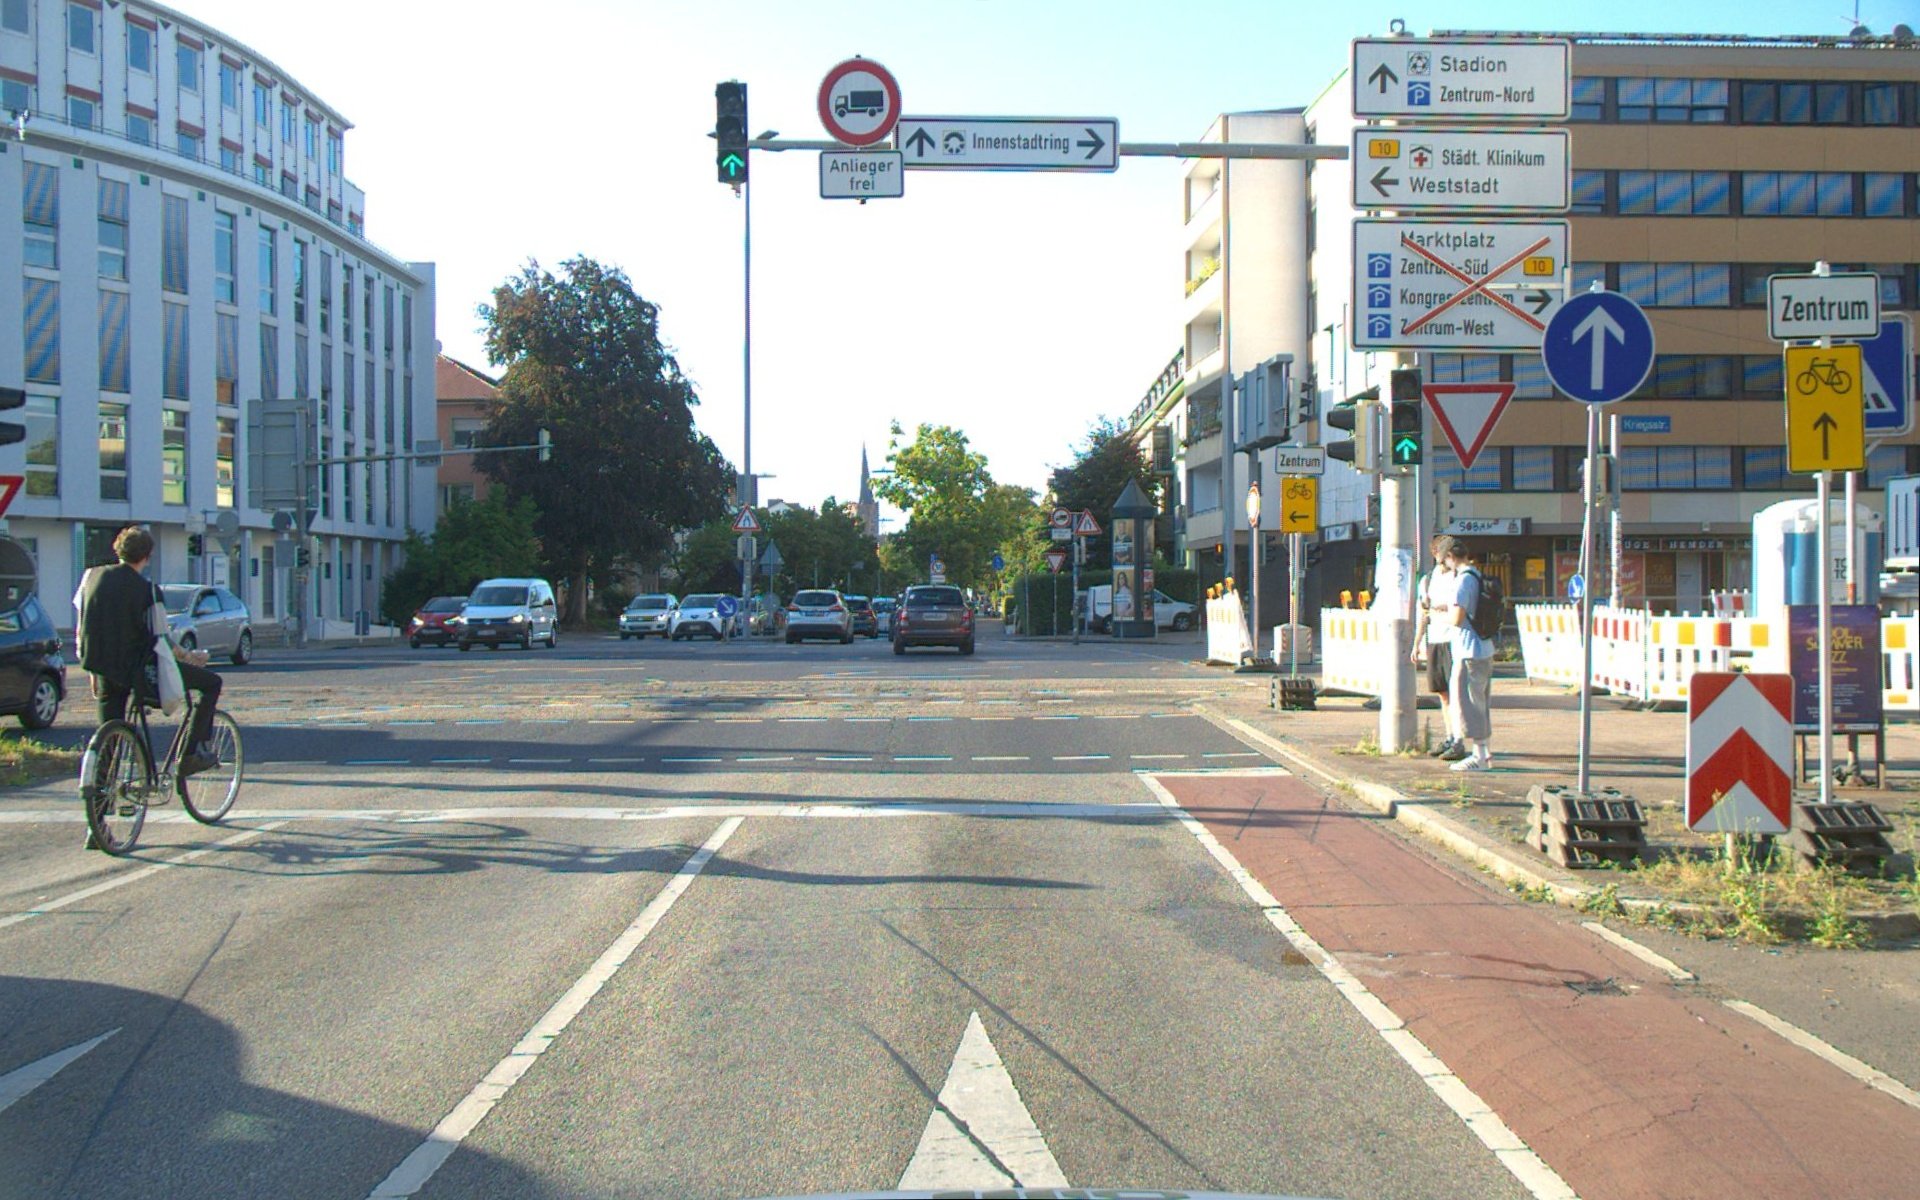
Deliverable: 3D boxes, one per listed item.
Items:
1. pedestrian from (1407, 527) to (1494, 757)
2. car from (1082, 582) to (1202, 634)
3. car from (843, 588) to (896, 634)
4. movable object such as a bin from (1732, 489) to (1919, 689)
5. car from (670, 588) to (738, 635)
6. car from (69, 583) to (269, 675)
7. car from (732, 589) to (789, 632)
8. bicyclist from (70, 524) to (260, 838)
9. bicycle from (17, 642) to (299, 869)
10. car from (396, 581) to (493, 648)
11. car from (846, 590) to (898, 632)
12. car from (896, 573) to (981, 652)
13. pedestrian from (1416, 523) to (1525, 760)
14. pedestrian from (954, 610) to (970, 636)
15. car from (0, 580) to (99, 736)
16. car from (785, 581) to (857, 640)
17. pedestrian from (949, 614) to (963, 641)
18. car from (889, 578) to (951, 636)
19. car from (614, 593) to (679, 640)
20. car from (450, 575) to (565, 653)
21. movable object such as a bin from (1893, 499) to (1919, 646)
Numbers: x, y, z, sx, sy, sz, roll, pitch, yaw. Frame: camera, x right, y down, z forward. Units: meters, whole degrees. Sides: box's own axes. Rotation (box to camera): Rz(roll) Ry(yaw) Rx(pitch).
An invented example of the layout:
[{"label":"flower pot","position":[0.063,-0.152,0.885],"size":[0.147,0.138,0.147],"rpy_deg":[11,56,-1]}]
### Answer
[{"label":"pedestrian","position":[4.159,0.349,14.043],"size":[0.510,1.901,0.614],"rpy_deg":[-1,0,-3]},{"label":"car","position":[6.882,0.285,62.931],"size":[4.276,1.910,1.999],"rpy_deg":[-1,0,-2]},{"label":"car","position":[-3.264,0.361,60.108],"size":[1.712,1.591,4.049],"rpy_deg":[-1,0,0]},{"label":"movable object such as a bin","position":[11.766,-0.146,20.936],"size":[3.261,2.424,1.528],"rpy_deg":[-1,0,-2]},{"label":"car","position":[-8.409,0.358,54.612],"size":[1.811,1.487,4.047],"rpy_deg":[-1,0,-3]},{"label":"car","position":[-14.200,0.474,29.964],"size":[1.624,1.520,4.345],"rpy_deg":[-1,0,-2]},{"label":"car","position":[-7.306,0.366,60.774],"size":[1.811,1.487,4.047],"rpy_deg":[-1,0,-3]},{"label":"bicyclist","position":[-4.684,0.453,9.810],"size":[0.677,1.758,0.987],"rpy_deg":[-1,0,-4]},{"label":"bicycle","position":[-4.678,0.847,9.847],"size":[0.686,1.119,2.256],"rpy_deg":[-1,0,-3]},{"label":"car","position":[-14.896,0.391,48.004],"size":[1.713,1.843,4.047],"rpy_deg":[-1,0,-3]},{"label":"car","position":[-3.566,0.471,67.365],"size":[1.953,1.534,3.998],"rpy_deg":[-2,-2,-2]},{"label":"car","position":[-0.442,0.241,35.986],"size":[1.712,1.591,4.049],"rpy_deg":[-1,0,0]},{"label":"pedestrian","position":[4.092,0.318,13.238],"size":[0.726,1.831,0.715],"rpy_deg":[-1,0,25]},{"label":"pedestrian","position":[0.180,1.872,133.608],"size":[1.185,2.049,1.421],"rpy_deg":[-1,0,-2]},{"label":"car","position":[-10.173,0.575,16.077],"size":[1.624,1.520,3.998],"rpy_deg":[-1,0,-2]},{"label":"car","position":[-3.897,0.277,46.935],"size":[1.712,1.591,4.049],"rpy_deg":[-1,0,0]},{"label":"pedestrian","position":[-0.249,1.734,104.713],"size":[0.845,1.636,0.705],"rpy_deg":[-1,0,-2]},{"label":"car","position":[-1.227,0.187,50.308],"size":[1.783,1.668,3.999],"rpy_deg":[-1,0,-2]},{"label":"car","position":[-11.579,0.576,61.354],"size":[1.843,1.683,4.047],"rpy_deg":[-1,0,-3]},{"label":"car","position":[-11.486,0.324,42.315],"size":[1.877,1.843,4.714],"rpy_deg":[-1,0,-3]},{"label":"movable object such as a bin","position":[19.299,-0.505,28.321],"size":[5.243,2.534,2.547],"rpy_deg":[-1,0,-4]}]
